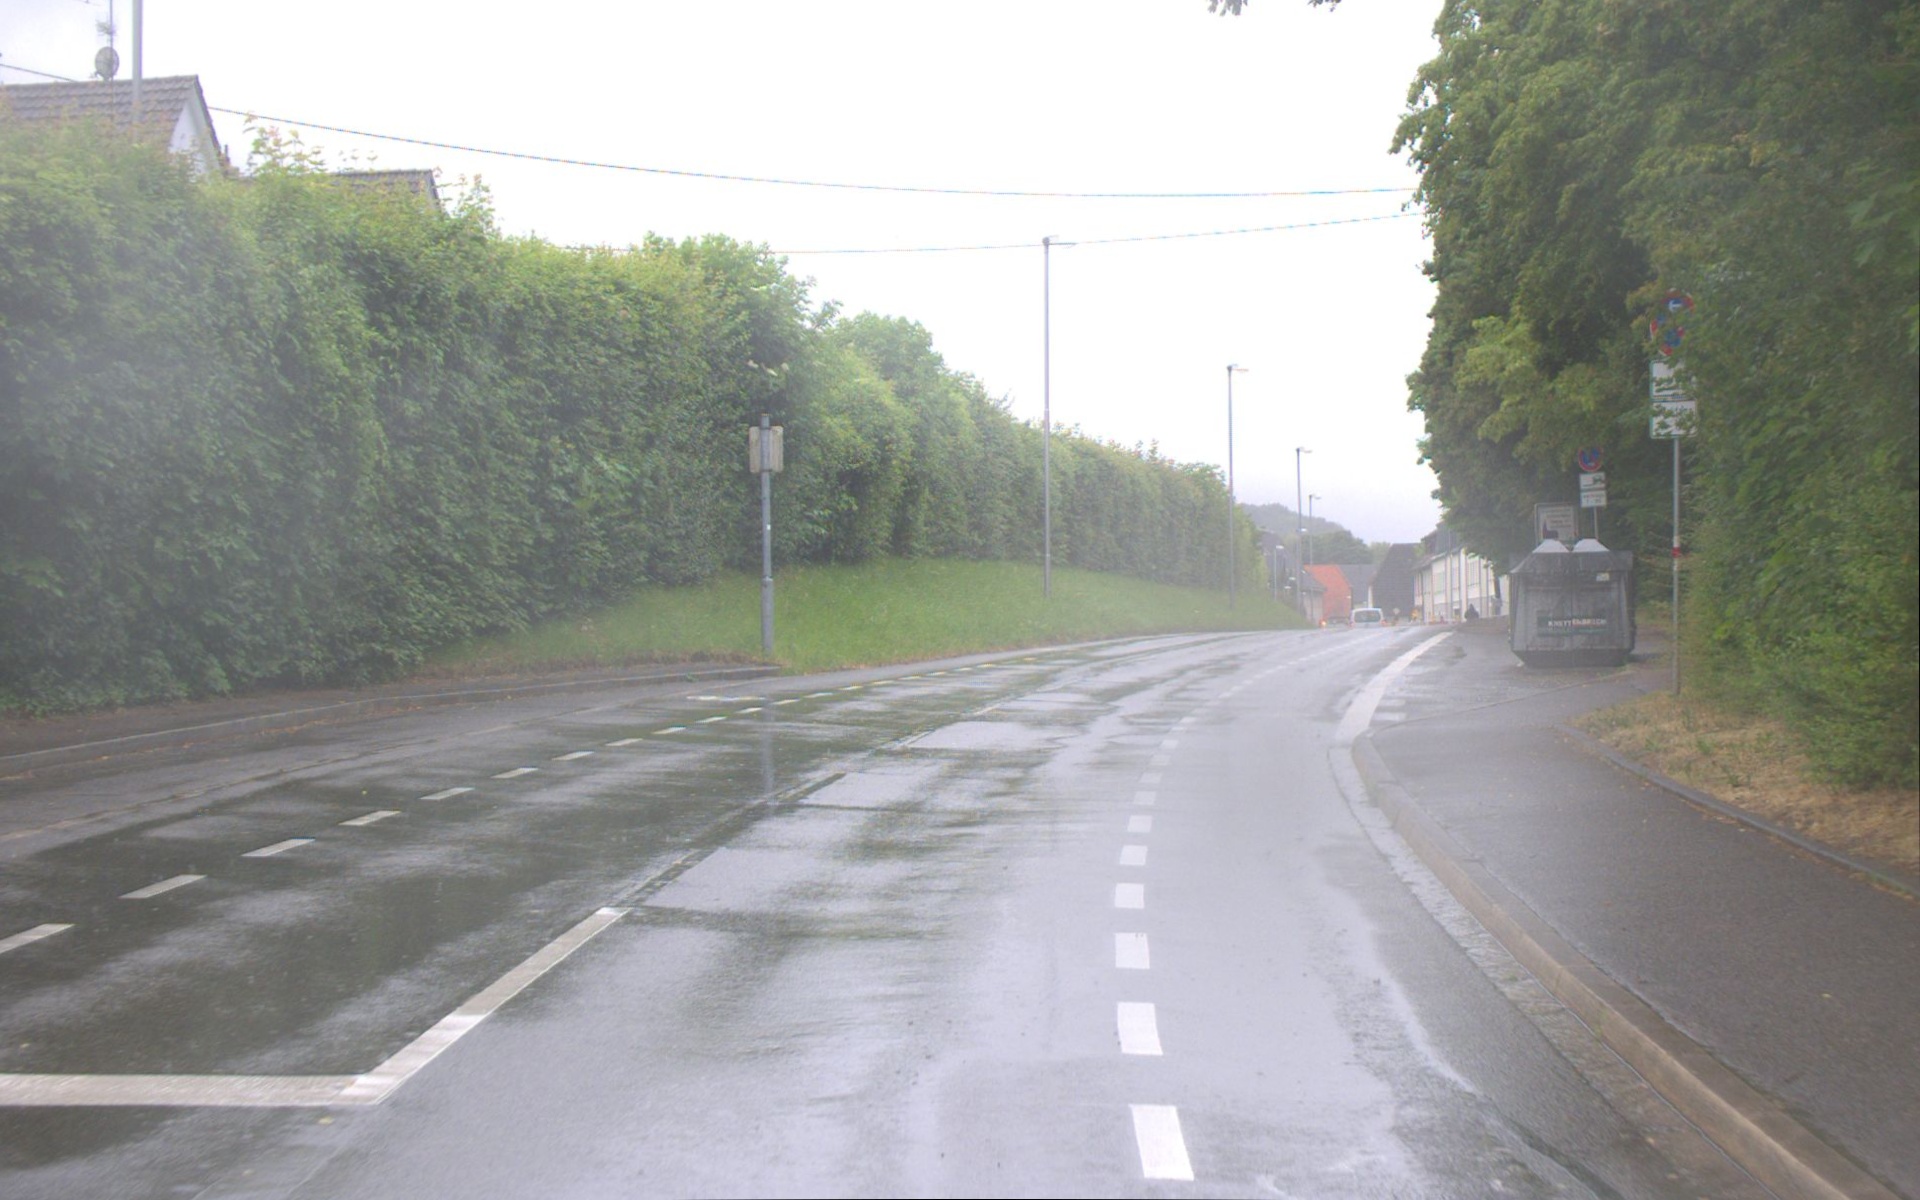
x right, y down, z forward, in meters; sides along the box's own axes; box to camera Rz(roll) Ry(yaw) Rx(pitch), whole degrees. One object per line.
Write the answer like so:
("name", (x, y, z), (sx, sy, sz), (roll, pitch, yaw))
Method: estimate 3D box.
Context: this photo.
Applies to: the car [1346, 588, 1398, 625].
("car", (20.277, 0.310, 169.406), (1.993, 1.605, 4.000), (2, 2, 0))
